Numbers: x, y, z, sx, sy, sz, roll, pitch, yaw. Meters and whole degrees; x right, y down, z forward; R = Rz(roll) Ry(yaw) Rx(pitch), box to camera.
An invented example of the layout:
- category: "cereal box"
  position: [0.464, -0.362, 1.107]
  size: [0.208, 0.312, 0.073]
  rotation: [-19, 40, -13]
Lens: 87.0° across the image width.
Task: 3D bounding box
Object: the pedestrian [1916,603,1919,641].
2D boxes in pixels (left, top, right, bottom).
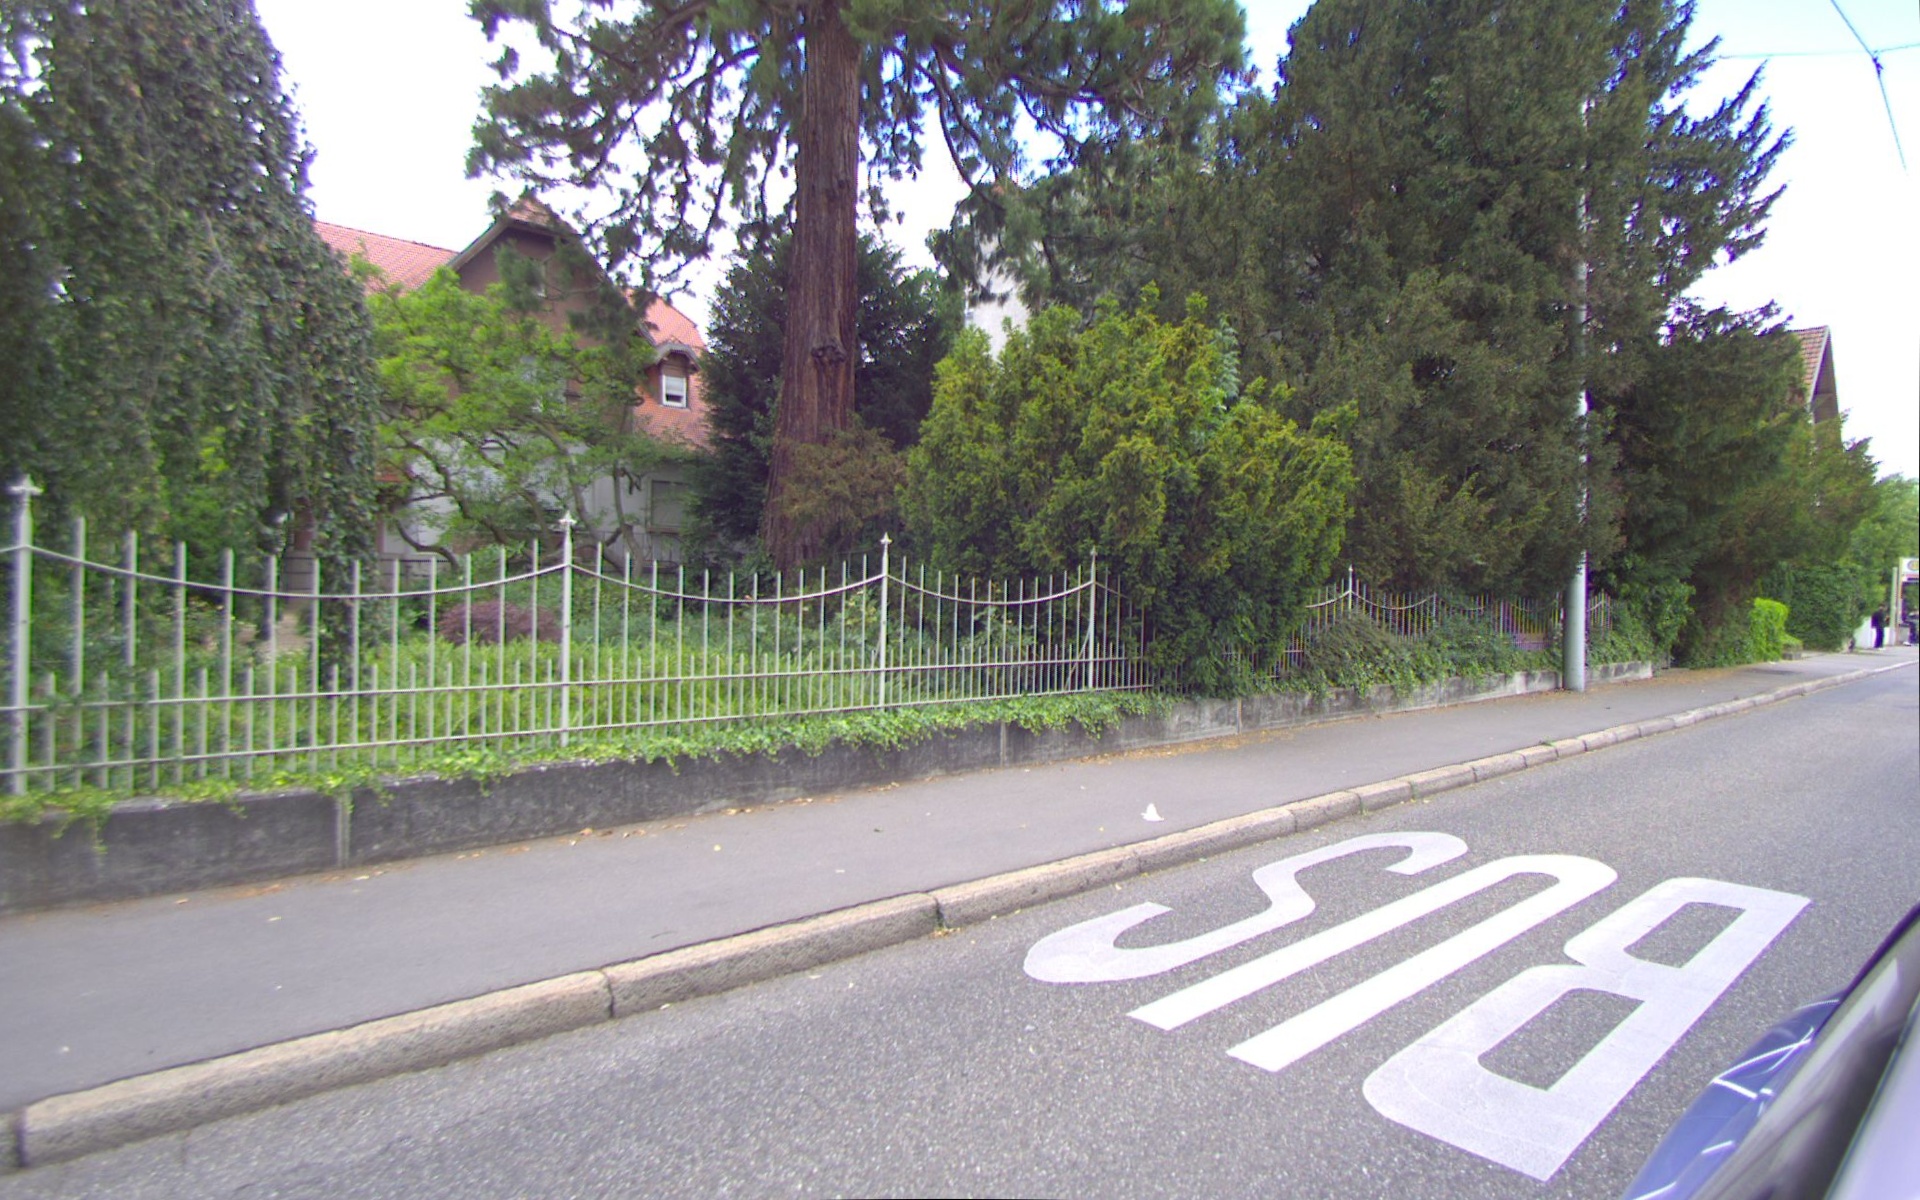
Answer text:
- category: "pedestrian"
  position: [40.141, 0.931, 41.893]
  size: [0.736, 1.553, 0.661]
  rotation: [0, 4, -42]

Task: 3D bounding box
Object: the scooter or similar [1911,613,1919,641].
- category: "scooter or similar"
  position: [39.534, 1.124, 41.312]
  size: [0.842, 1.110, 0.479]
  rotation: [4, 3, 2]

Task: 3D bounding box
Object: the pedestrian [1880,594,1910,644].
- category: "pedestrian"
  position: [33.903, 0.694, 36.695]
  size: [0.657, 1.789, 0.491]
  rotation: [0, 0, -9]

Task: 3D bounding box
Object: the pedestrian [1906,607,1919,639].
- category: "pedestrian"
  position: [38.794, 0.941, 40.762]
  size: [0.914, 1.266, 0.777]
  rotation: [6, 4, 44]
